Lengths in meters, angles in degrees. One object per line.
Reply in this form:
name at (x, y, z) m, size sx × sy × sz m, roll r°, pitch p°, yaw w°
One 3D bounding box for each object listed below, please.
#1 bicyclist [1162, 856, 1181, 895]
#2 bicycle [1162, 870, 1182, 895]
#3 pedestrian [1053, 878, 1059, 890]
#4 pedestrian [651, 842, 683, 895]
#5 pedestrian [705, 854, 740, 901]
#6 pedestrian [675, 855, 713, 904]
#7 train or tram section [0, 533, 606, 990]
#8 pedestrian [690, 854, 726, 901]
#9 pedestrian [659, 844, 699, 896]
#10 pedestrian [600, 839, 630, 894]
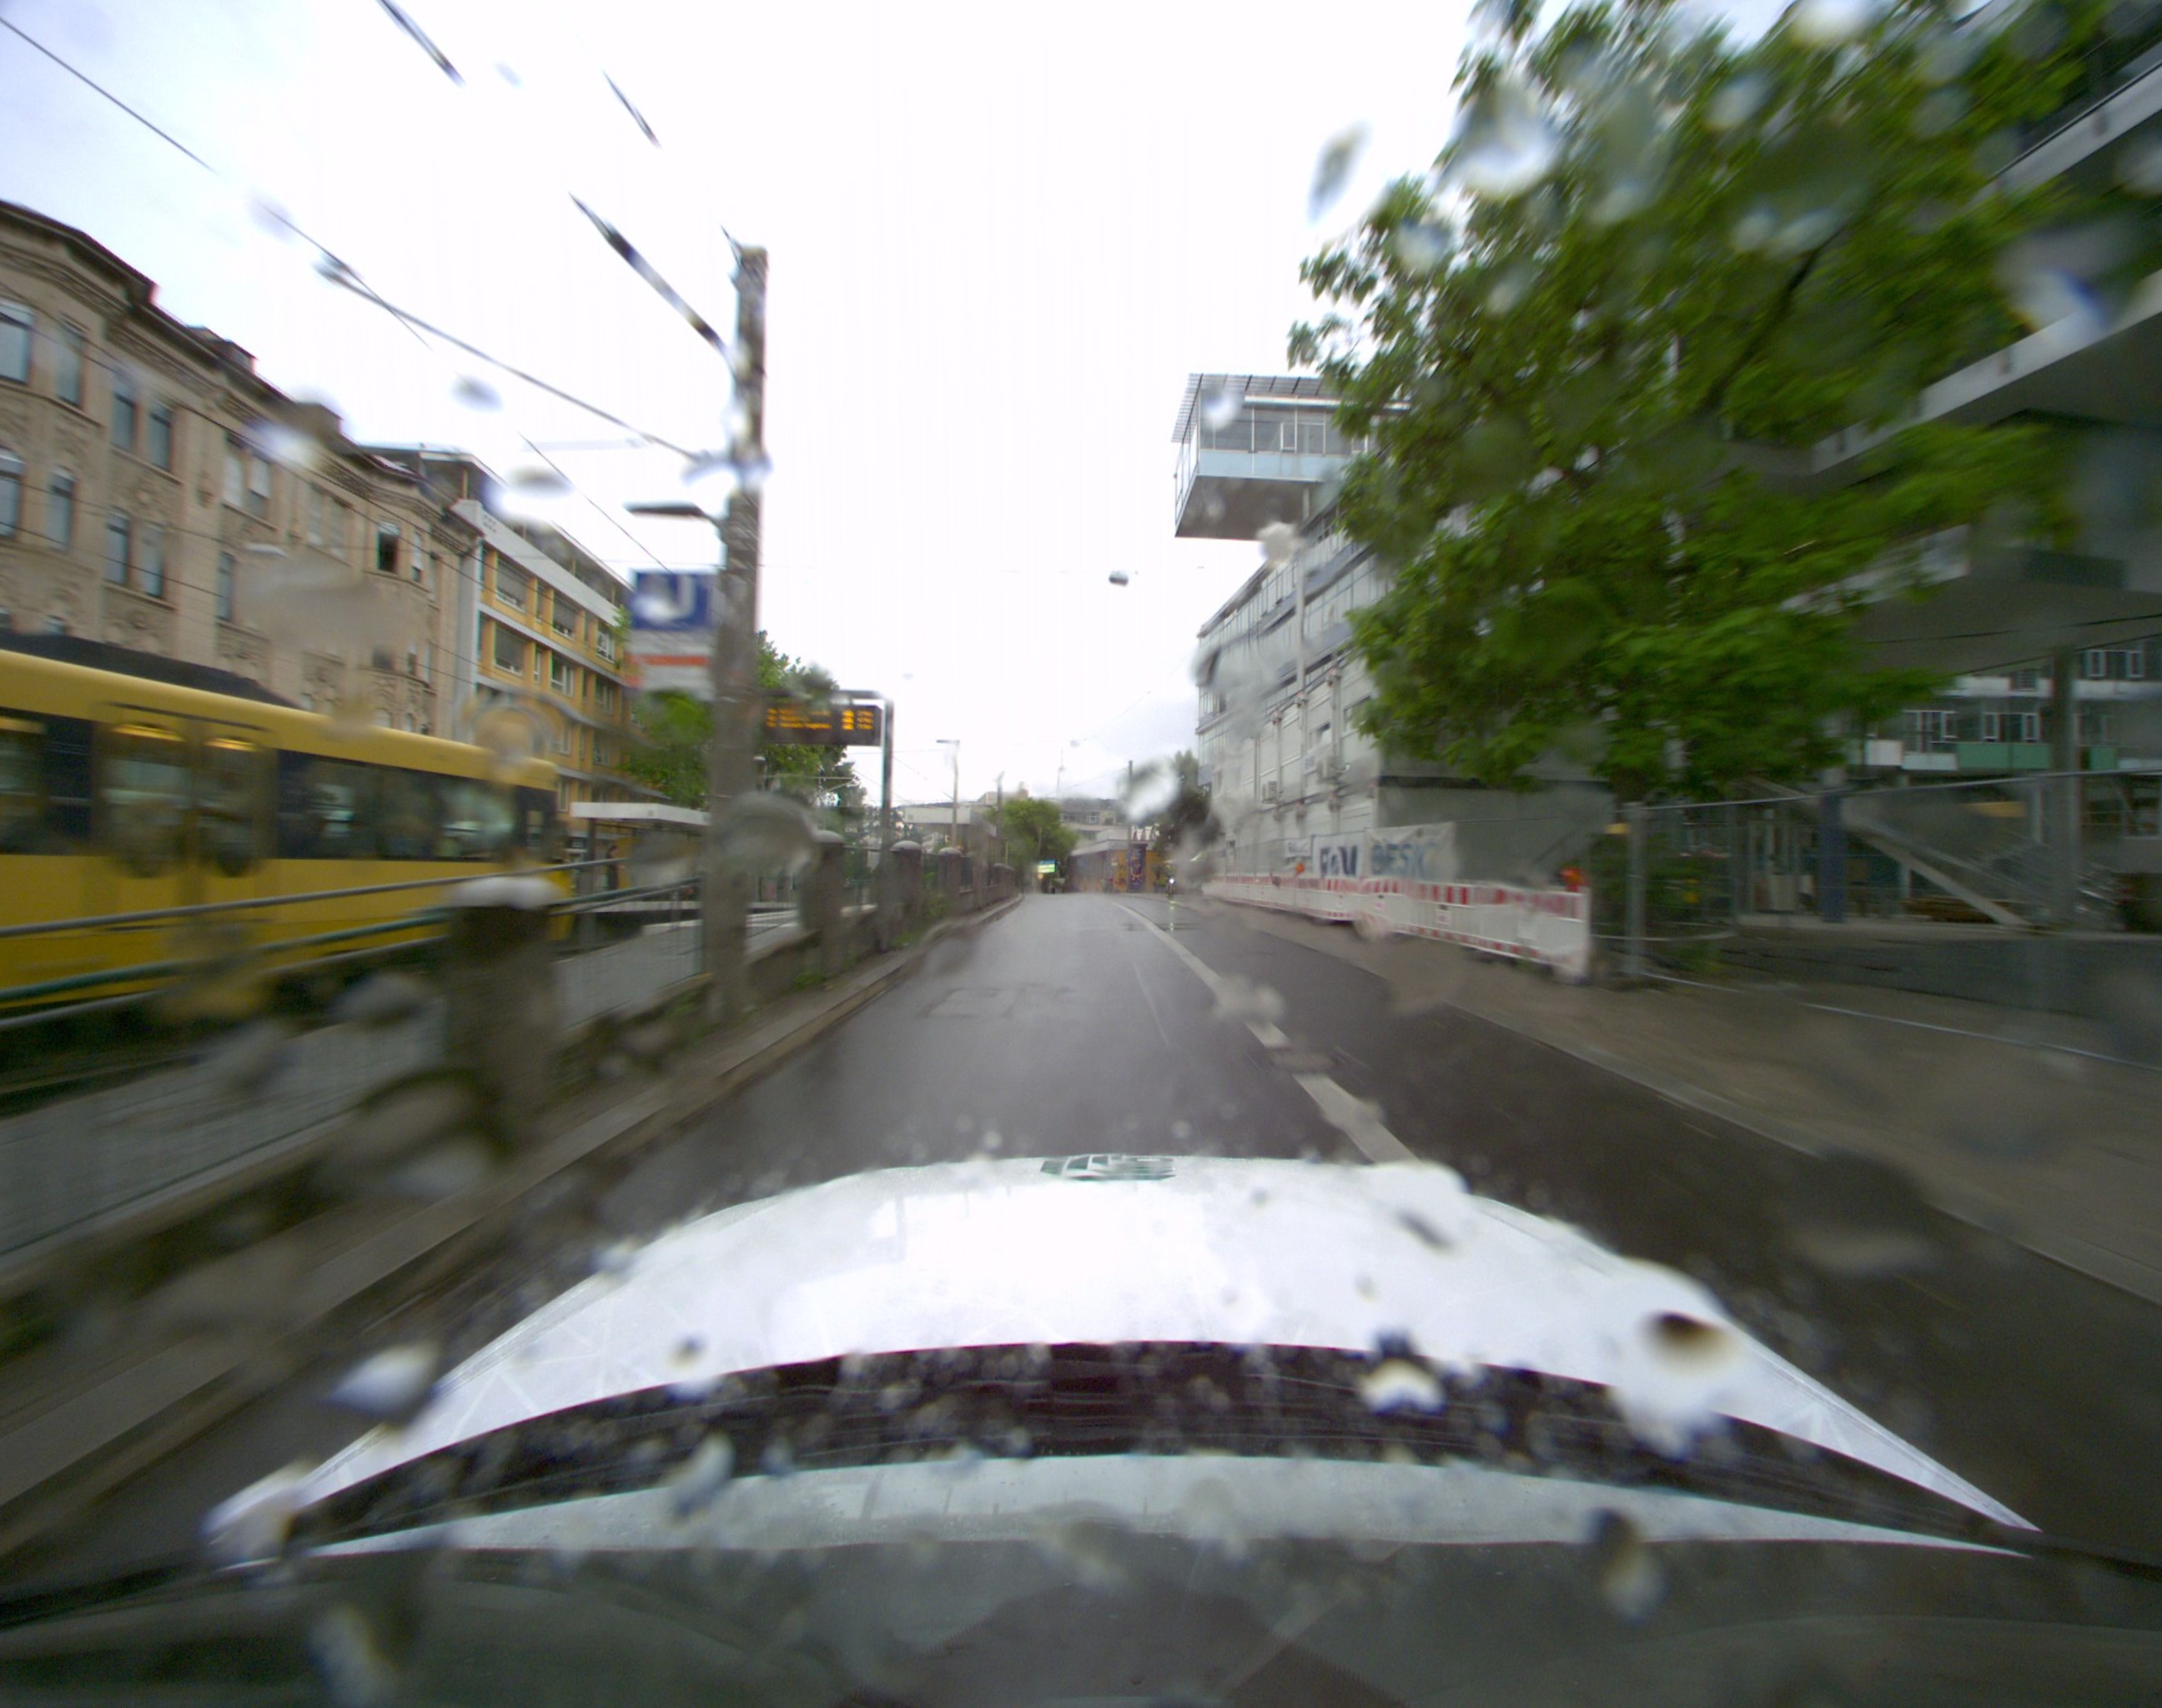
bicyclist at (4.008, 0.953, 36.071) m, size 0.660 × 1.639 × 0.792 m, roll -4°, pitch -1°, yaw -1°
bicycle at (4.020, 1.267, 36.132) m, size 0.659 × 1.053 × 2.056 m, roll -1°, pitch -2°, yaw 0°
pedestrian at (-3.959, 4.692, 129.174) m, size 0.806 × 1.865 × 1.053 m, roll -1°, pitch -3°, yaw -8°
pedestrian at (-13.179, 0.441, 25.935) m, size 0.630 × 1.660 × 0.683 m, roll 0°, pitch 0°, yaw 2°
pedestrian at (-13.122, 0.844, 29.820) m, size 0.674 × 1.649 × 0.896 m, roll -6°, pitch -1°, yaw 3°
pedestrian at (-13.638, 0.884, 28.723) m, size 0.768 × 1.649 × 0.778 m, roll -6°, pitch -1°, yaw 3°
train or tram section at (-10.014, -0.837, 9.631) m, size 2.768 × 3.691 × 9.720 m, roll 1°, pitch 1°, yaw 2°
pedestrian at (-13.576, 0.851, 29.673) m, size 0.768 × 1.649 × 0.778 m, roll -6°, pitch -1°, yaw 3°
pedestrian at (-13.520, 0.540, 27.391) m, size 0.768 × 1.649 × 0.778 m, roll -6°, pitch -1°, yaw 3°
pedestrian at (-13.261, 0.359, 23.183) m, size 0.556 × 1.537 × 0.516 m, roll 0°, pitch -1°, yaw -1°
